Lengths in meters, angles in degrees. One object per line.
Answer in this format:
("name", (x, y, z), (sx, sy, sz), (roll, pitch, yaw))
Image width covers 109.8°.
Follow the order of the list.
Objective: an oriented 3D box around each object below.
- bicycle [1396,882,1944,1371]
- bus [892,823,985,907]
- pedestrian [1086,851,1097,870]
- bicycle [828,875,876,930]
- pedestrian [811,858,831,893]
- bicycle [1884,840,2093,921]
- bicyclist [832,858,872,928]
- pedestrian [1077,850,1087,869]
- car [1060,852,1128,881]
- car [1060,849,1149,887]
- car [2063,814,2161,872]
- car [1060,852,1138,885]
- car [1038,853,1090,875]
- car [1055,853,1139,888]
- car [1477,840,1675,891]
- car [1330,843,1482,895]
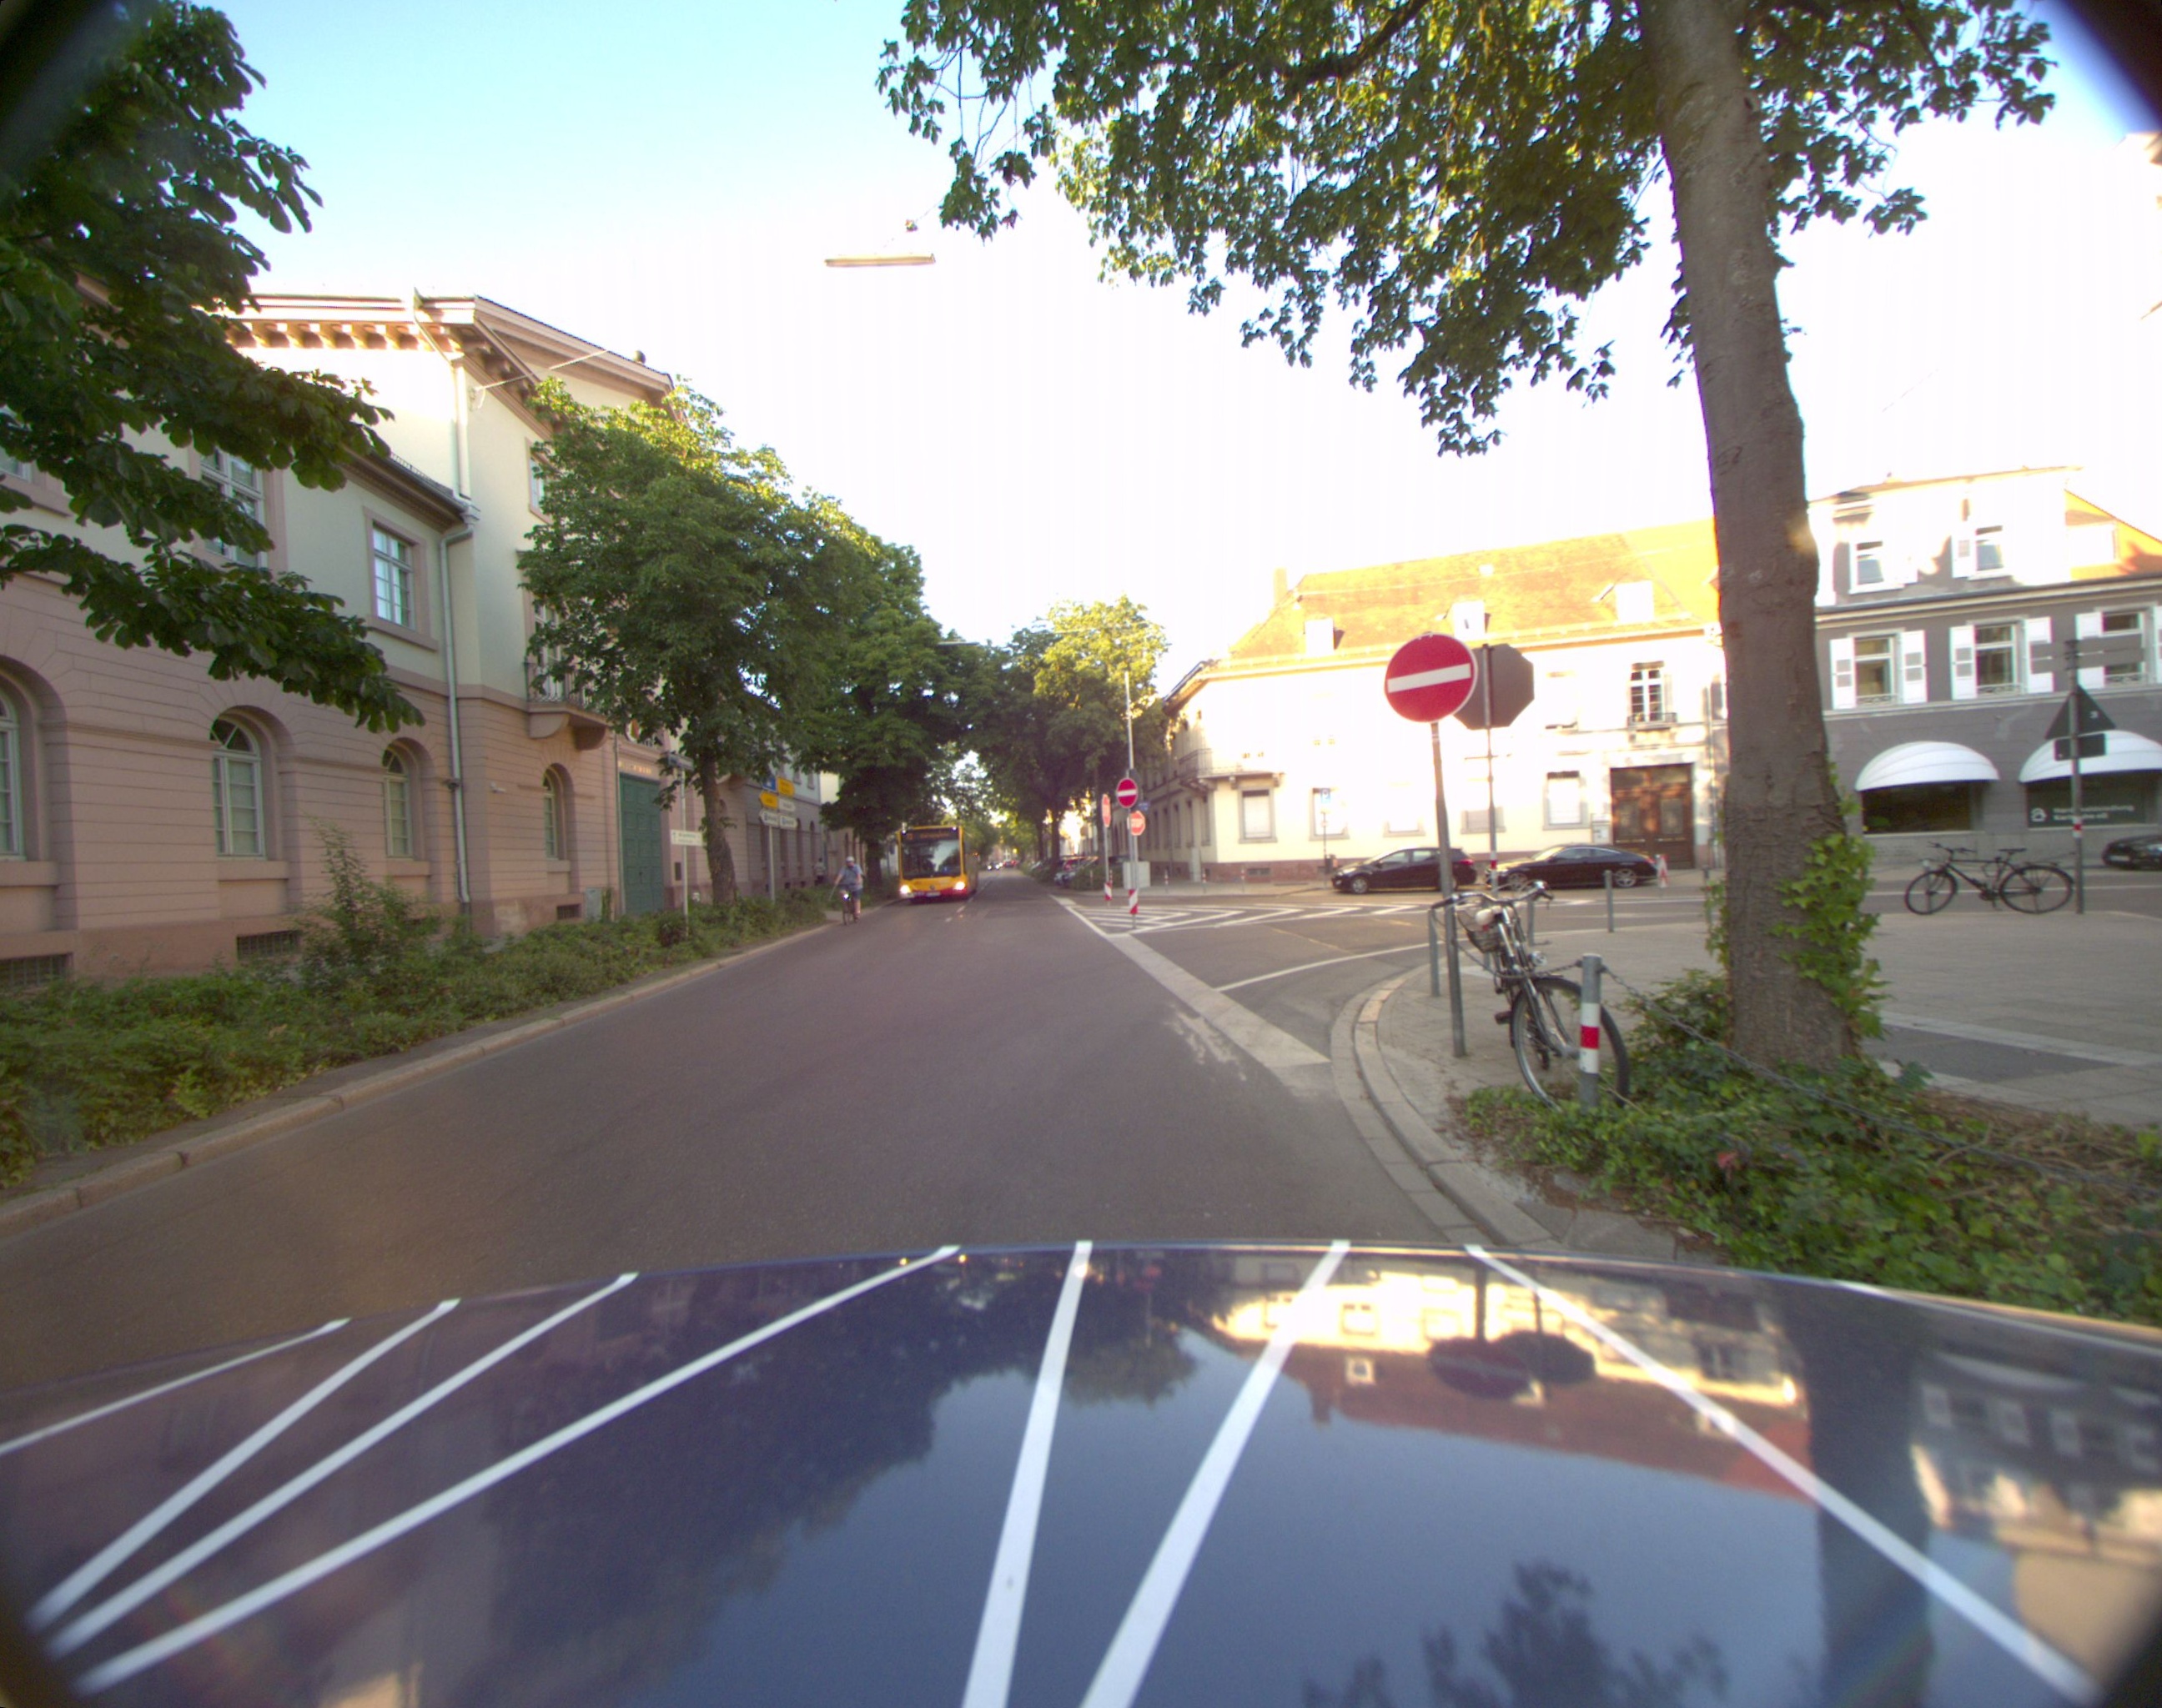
("bicycle", (2.195, 0.820, 3.450), (0.845, 1.260, 2.574), (-2, 0, 10))
("bus", (-6.120, 0.428, 34.589), (2.712, 2.983, 12.076), (-4, 0, -5))
("pedestrian", (0.971, 0.607, 72.463), (0.895, 1.760, 1.021), (-2, 0, -6))
("bicycle", (-6.288, 1.306, 20.993), (0.783, 1.322, 2.077), (-4, 0, -5))
("pedestrian", (-13.929, 1.160, 40.722), (0.801, 1.821, 0.929), (-2, 0, -7))
("bicycle", (13.371, 0.414, 11.278), (1.799, 1.119, 0.730), (-3, -3, 26))
("bicyclist", (-6.310, 1.047, 20.963), (0.783, 1.828, 0.826), (-4, 1, -5))
("pedestrian", (0.108, 0.542, 72.367), (0.807, 1.760, 1.021), (-2, 0, -6))
("car", (0.785, 0.750, 47.278), (3.999, 1.606, 1.722), (-2, 0, -7))
("car", (1.074, 0.670, 36.458), (3.999, 1.606, 1.827), (-2, 0, -7))
("car", (29.168, -0.348, 19.728), (4.241, 1.438, 1.750), (-2, 0, 18))
("car", (0.936, 0.778, 41.297), (3.999, 1.606, 1.722), (-2, 0, -7))
("car", (-1.395, 0.803, 61.171), (3.999, 1.606, 1.722), (-2, 0, -7))
("car", (0.787, 0.829, 38.842), (3.999, 1.606, 1.722), (-2, 0, -7))
("car", (15.171, 0.372, 23.607), (4.847, 1.386, 1.781), (-2, -1, 19))
("car", (10.601, 0.499, 25.108), (4.422, 1.532, 1.810), (-2, 0, 18))
